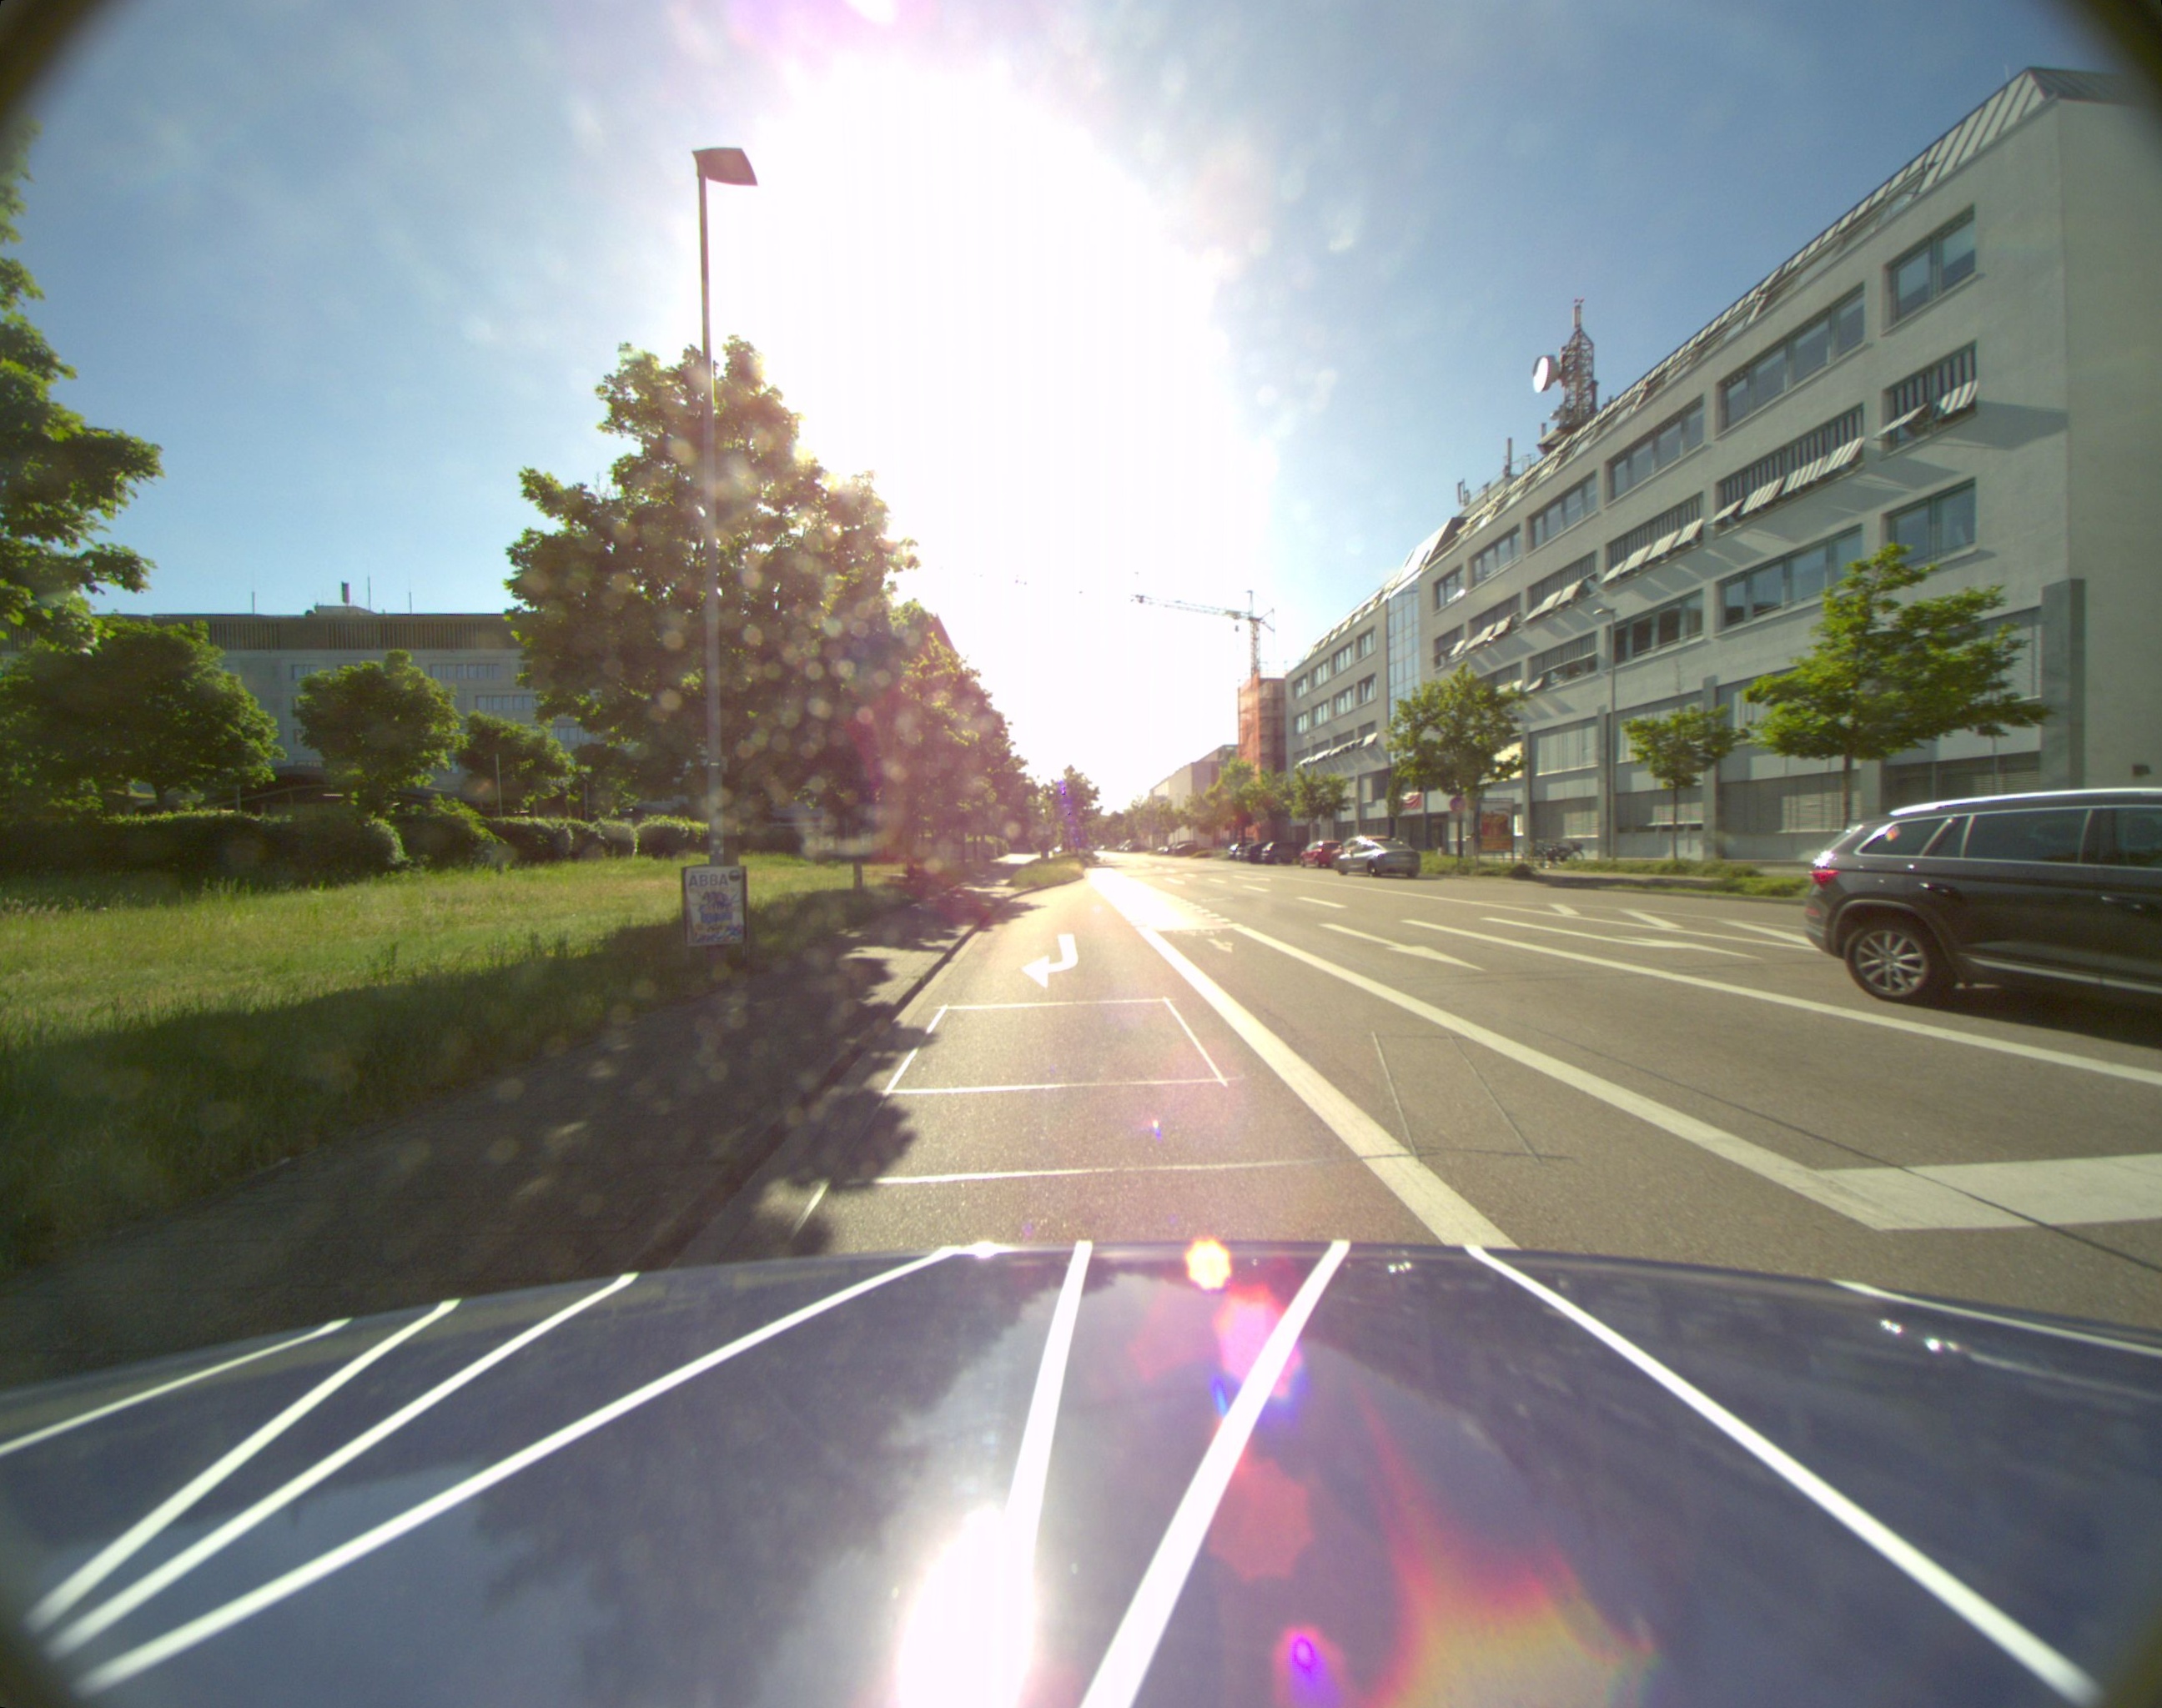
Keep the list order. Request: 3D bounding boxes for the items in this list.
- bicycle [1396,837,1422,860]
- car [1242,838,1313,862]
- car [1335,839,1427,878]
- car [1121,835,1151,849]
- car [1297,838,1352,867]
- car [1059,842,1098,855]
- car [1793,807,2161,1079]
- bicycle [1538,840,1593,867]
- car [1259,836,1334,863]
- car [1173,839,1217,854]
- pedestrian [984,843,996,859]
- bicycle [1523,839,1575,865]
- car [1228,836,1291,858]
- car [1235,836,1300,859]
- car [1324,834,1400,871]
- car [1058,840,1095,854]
[{"bbox_3d":[19.299,-0.348,44.792,0.710,1.339,2.232,0,1,4],"label":"bicycle"},{"bbox_3d":[13.637,-0.300,52.794,4.398,1.424,1.692,-3,1,-4],"label":"car"},{"bbox_3d":[12.144,0.141,31.095,1.693,1.460,4.544,0,1,-5],"label":"car"},{"bbox_3d":[10.792,-2.309,148.423,5.583,2.468,2.010,-3,1,1],"label":"car"},{"bbox_3d":[13.476,-0.128,42.252,1.692,1.424,3.870,-3,1,-1],"label":"car"},{"bbox_3d":[-0.322,-0.671,87.687,4.414,1.455,1.895,0,1,-2],"label":"car"},{"bbox_3d":[7.439,0.517,4.703,1.758,1.619,4.476,-3,1,-1],"label":"car"},{"bbox_3d":[19.757,-0.024,30.991,1.792,1.063,0.621,0,2,6],"label":"bicycle"},{"bbox_3d":[14.075,-0.308,49.755,4.398,1.529,1.692,-3,1,-6],"label":"car"},{"bbox_3d":[12.472,-0.824,83.264,4.398,1.424,1.976,-3,1,-5],"label":"car"},{"bbox_3d":[-6.932,-0.221,57.756,0.847,1.210,0.728,0,1,-14],"label":"pedestrian"},{"bbox_3d":[19.555,-0.075,31.759,1.770,1.063,0.556,0,2,6],"label":"bicycle"},{"bbox_3d":[13.890,-0.546,59.239,4.396,1.424,1.693,-3,1,0],"label":"car"},{"bbox_3d":[13.978,-0.487,56.992,4.396,1.424,1.693,-3,1,0],"label":"car"},{"bbox_3d":[13.710,-0.094,37.302,1.693,1.598,4.307,-3,1,-6],"label":"car"},{"bbox_3d":[-0.564,-0.824,89.963,4.414,1.632,2.074,0,1,-2],"label":"car"}]
